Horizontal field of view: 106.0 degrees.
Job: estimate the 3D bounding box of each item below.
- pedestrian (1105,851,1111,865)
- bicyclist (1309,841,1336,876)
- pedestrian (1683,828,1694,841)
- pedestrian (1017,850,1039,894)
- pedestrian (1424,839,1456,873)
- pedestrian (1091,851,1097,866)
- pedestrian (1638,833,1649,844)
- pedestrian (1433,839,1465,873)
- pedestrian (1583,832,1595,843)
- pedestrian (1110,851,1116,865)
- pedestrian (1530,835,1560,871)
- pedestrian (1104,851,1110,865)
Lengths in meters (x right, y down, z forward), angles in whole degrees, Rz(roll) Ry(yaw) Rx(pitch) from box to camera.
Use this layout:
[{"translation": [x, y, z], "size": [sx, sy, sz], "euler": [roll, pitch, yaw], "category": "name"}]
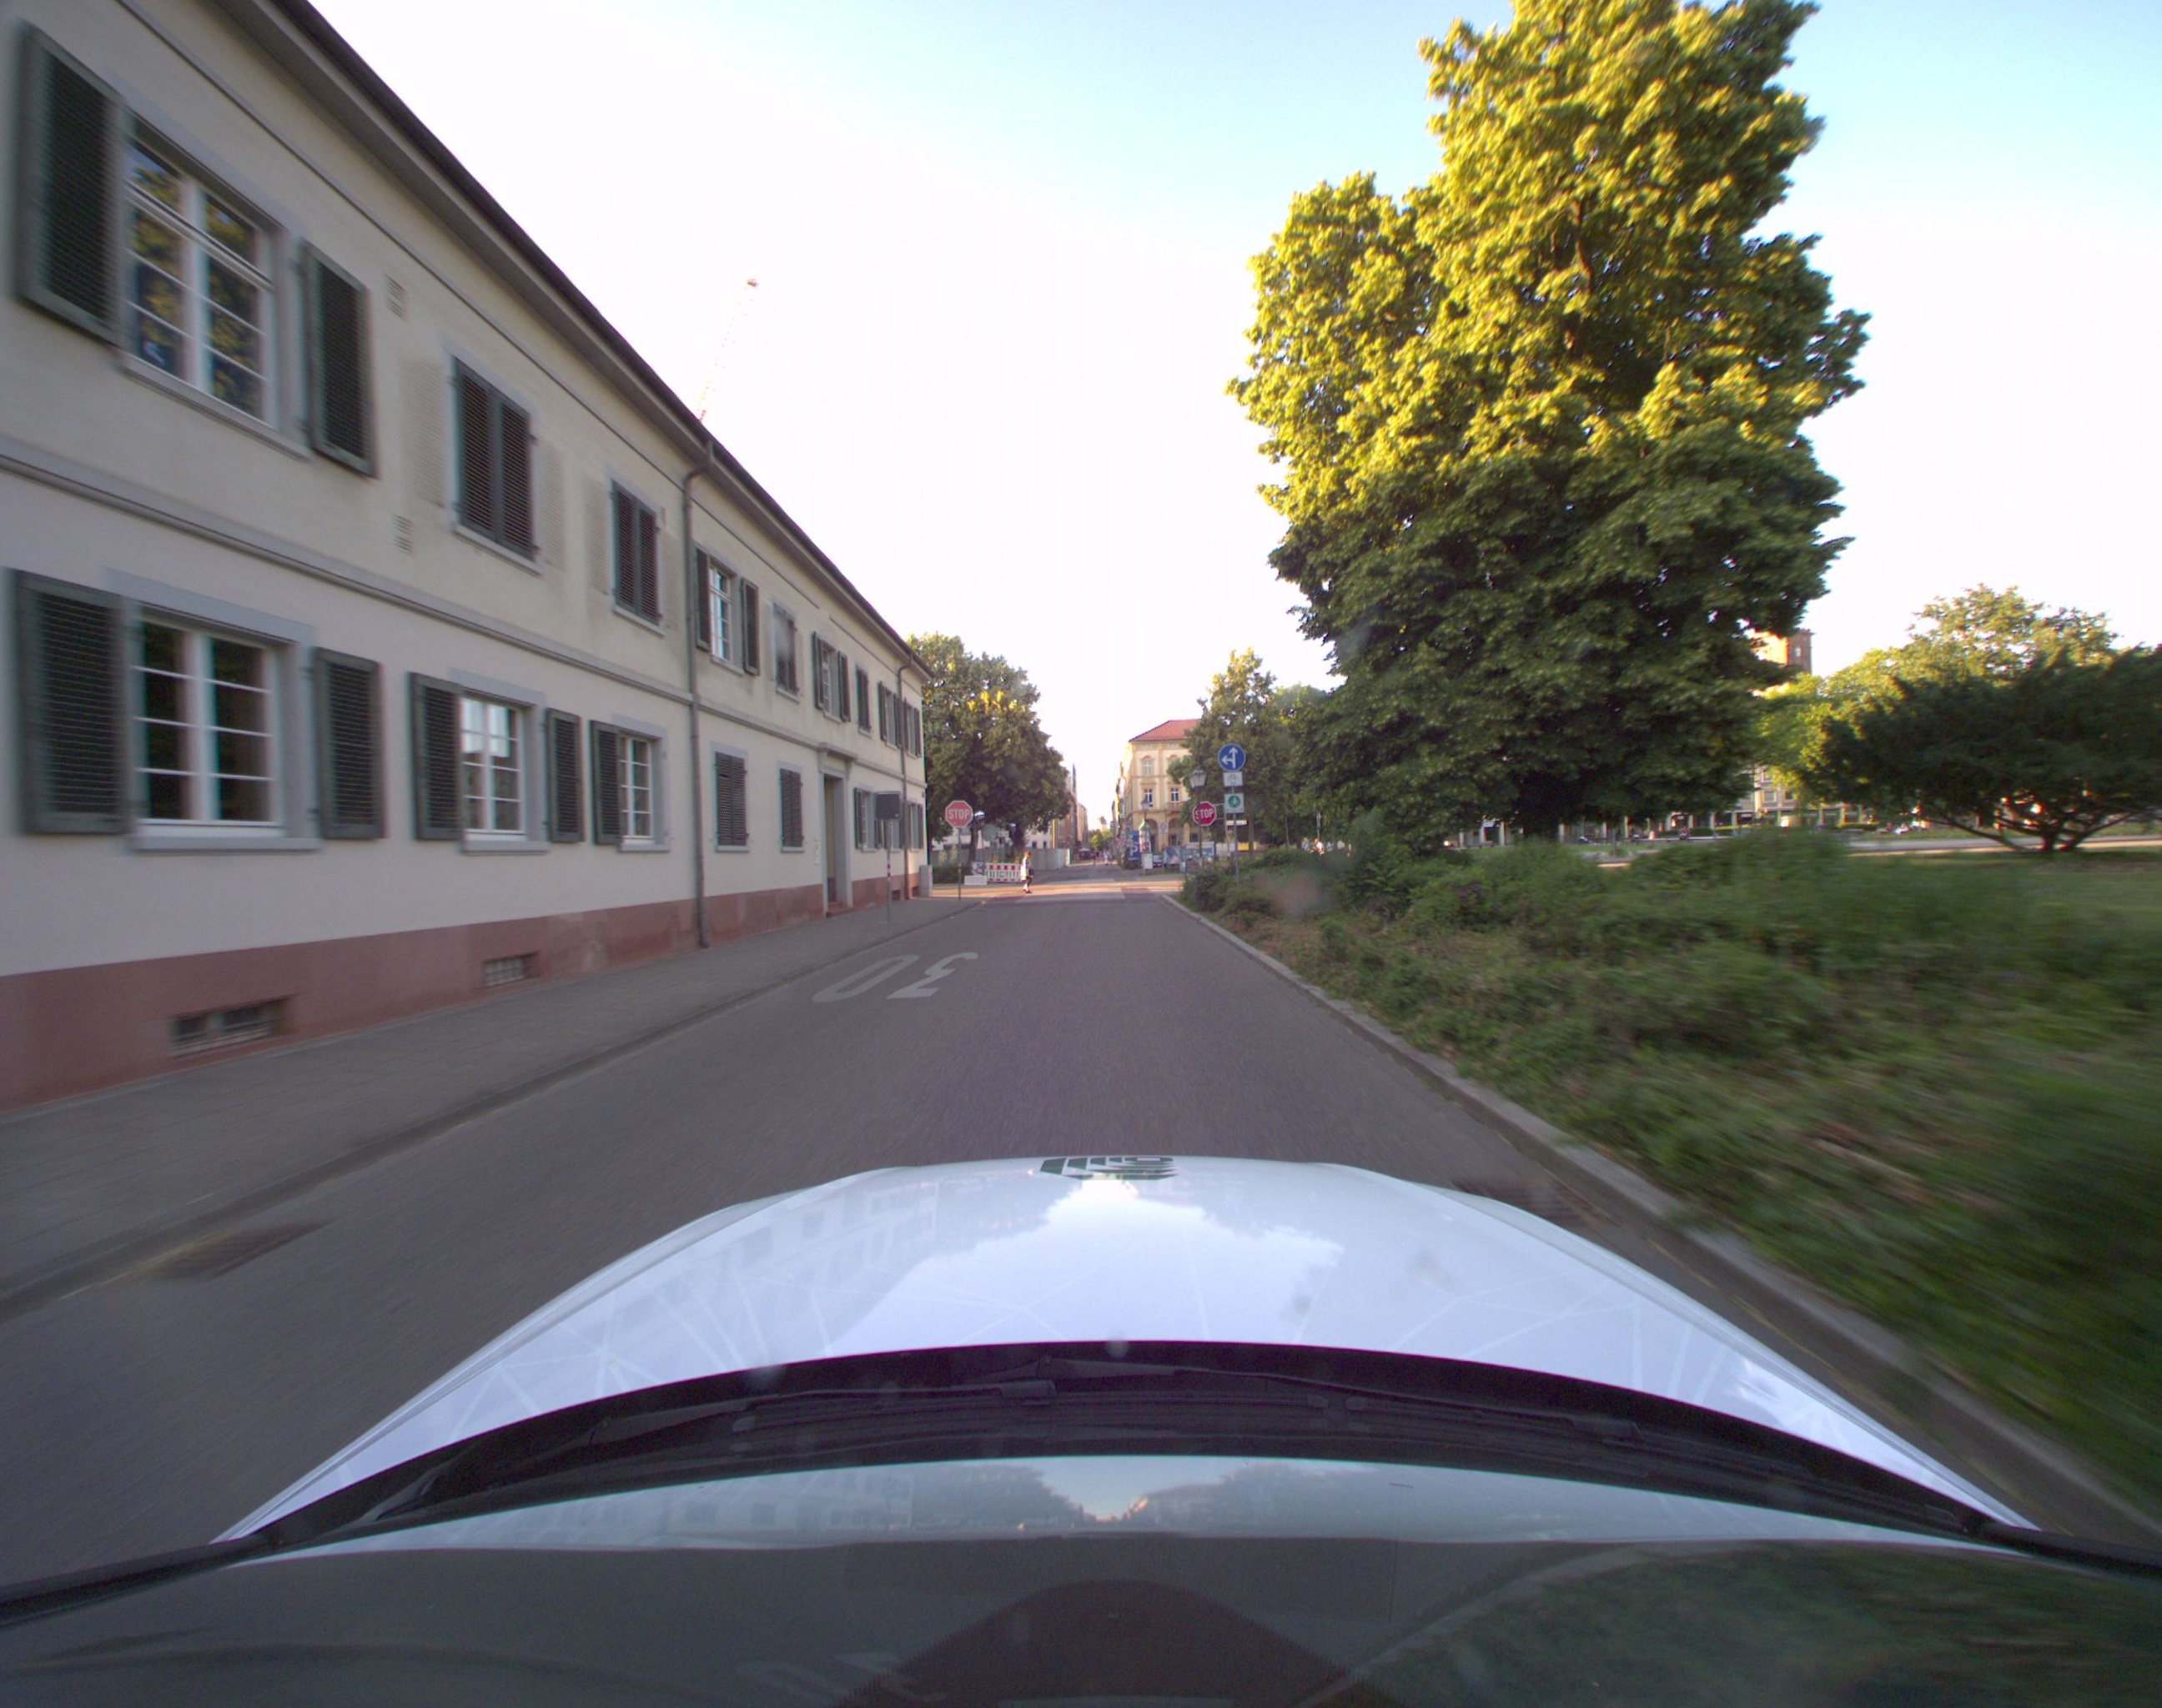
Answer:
[{"translation": [3.180, 0.506, 95.759], "size": [0.655, 1.635, 0.745], "euler": [-3, 0, 2], "category": "pedestrian"}, {"translation": [11.543, 0.214, 38.951], "size": [1.060, 1.633, 0.595], "euler": [-2, 0, -8], "category": "bicyclist"}, {"translation": [53.099, -1.700, 71.144], "size": [0.514, 1.077, 0.614], "euler": [-2, 0, -38], "category": "pedestrian"}, {"translation": [-2.096, 0.698, 32.468], "size": [0.731, 1.689, 0.836], "euler": [-2, 0, 1], "category": "pedestrian"}, {"translation": [13.452, 0.079, 30.533], "size": [0.685, 1.237, 0.811], "euler": [-2, 0, -29], "category": "pedestrian"}, {"translation": [1.516, 0.512, 95.717], "size": [0.655, 1.760, 0.745], "euler": [-3, 0, 2], "category": "pedestrian"}, {"translation": [51.445, -1.431, 74.509], "size": [0.512, 0.924, 0.616], "euler": [-3, 0, -24], "category": "pedestrian"}, {"translation": [13.976, 0.083, 30.942], "size": [0.600, 1.261, 0.865], "euler": [-2, 0, -30], "category": "pedestrian"}, {"translation": [51.185, -1.621, 82.035], "size": [0.889, 1.077, 0.624], "euler": [-3, 0, 19], "category": "pedestrian"}, {"translation": [3.733, 0.423, 94.306], "size": [0.655, 1.617, 0.745], "euler": [-3, 0, 2], "category": "pedestrian"}, {"translation": [17.578, -0.036, 30.888], "size": [0.595, 1.342, 0.817], "euler": [-2, 0, -4], "category": "pedestrian"}, {"translation": [3.014, 0.486, 94.304], "size": [0.655, 1.617, 0.745], "euler": [-3, 0, 2], "category": "pedestrian"}]
